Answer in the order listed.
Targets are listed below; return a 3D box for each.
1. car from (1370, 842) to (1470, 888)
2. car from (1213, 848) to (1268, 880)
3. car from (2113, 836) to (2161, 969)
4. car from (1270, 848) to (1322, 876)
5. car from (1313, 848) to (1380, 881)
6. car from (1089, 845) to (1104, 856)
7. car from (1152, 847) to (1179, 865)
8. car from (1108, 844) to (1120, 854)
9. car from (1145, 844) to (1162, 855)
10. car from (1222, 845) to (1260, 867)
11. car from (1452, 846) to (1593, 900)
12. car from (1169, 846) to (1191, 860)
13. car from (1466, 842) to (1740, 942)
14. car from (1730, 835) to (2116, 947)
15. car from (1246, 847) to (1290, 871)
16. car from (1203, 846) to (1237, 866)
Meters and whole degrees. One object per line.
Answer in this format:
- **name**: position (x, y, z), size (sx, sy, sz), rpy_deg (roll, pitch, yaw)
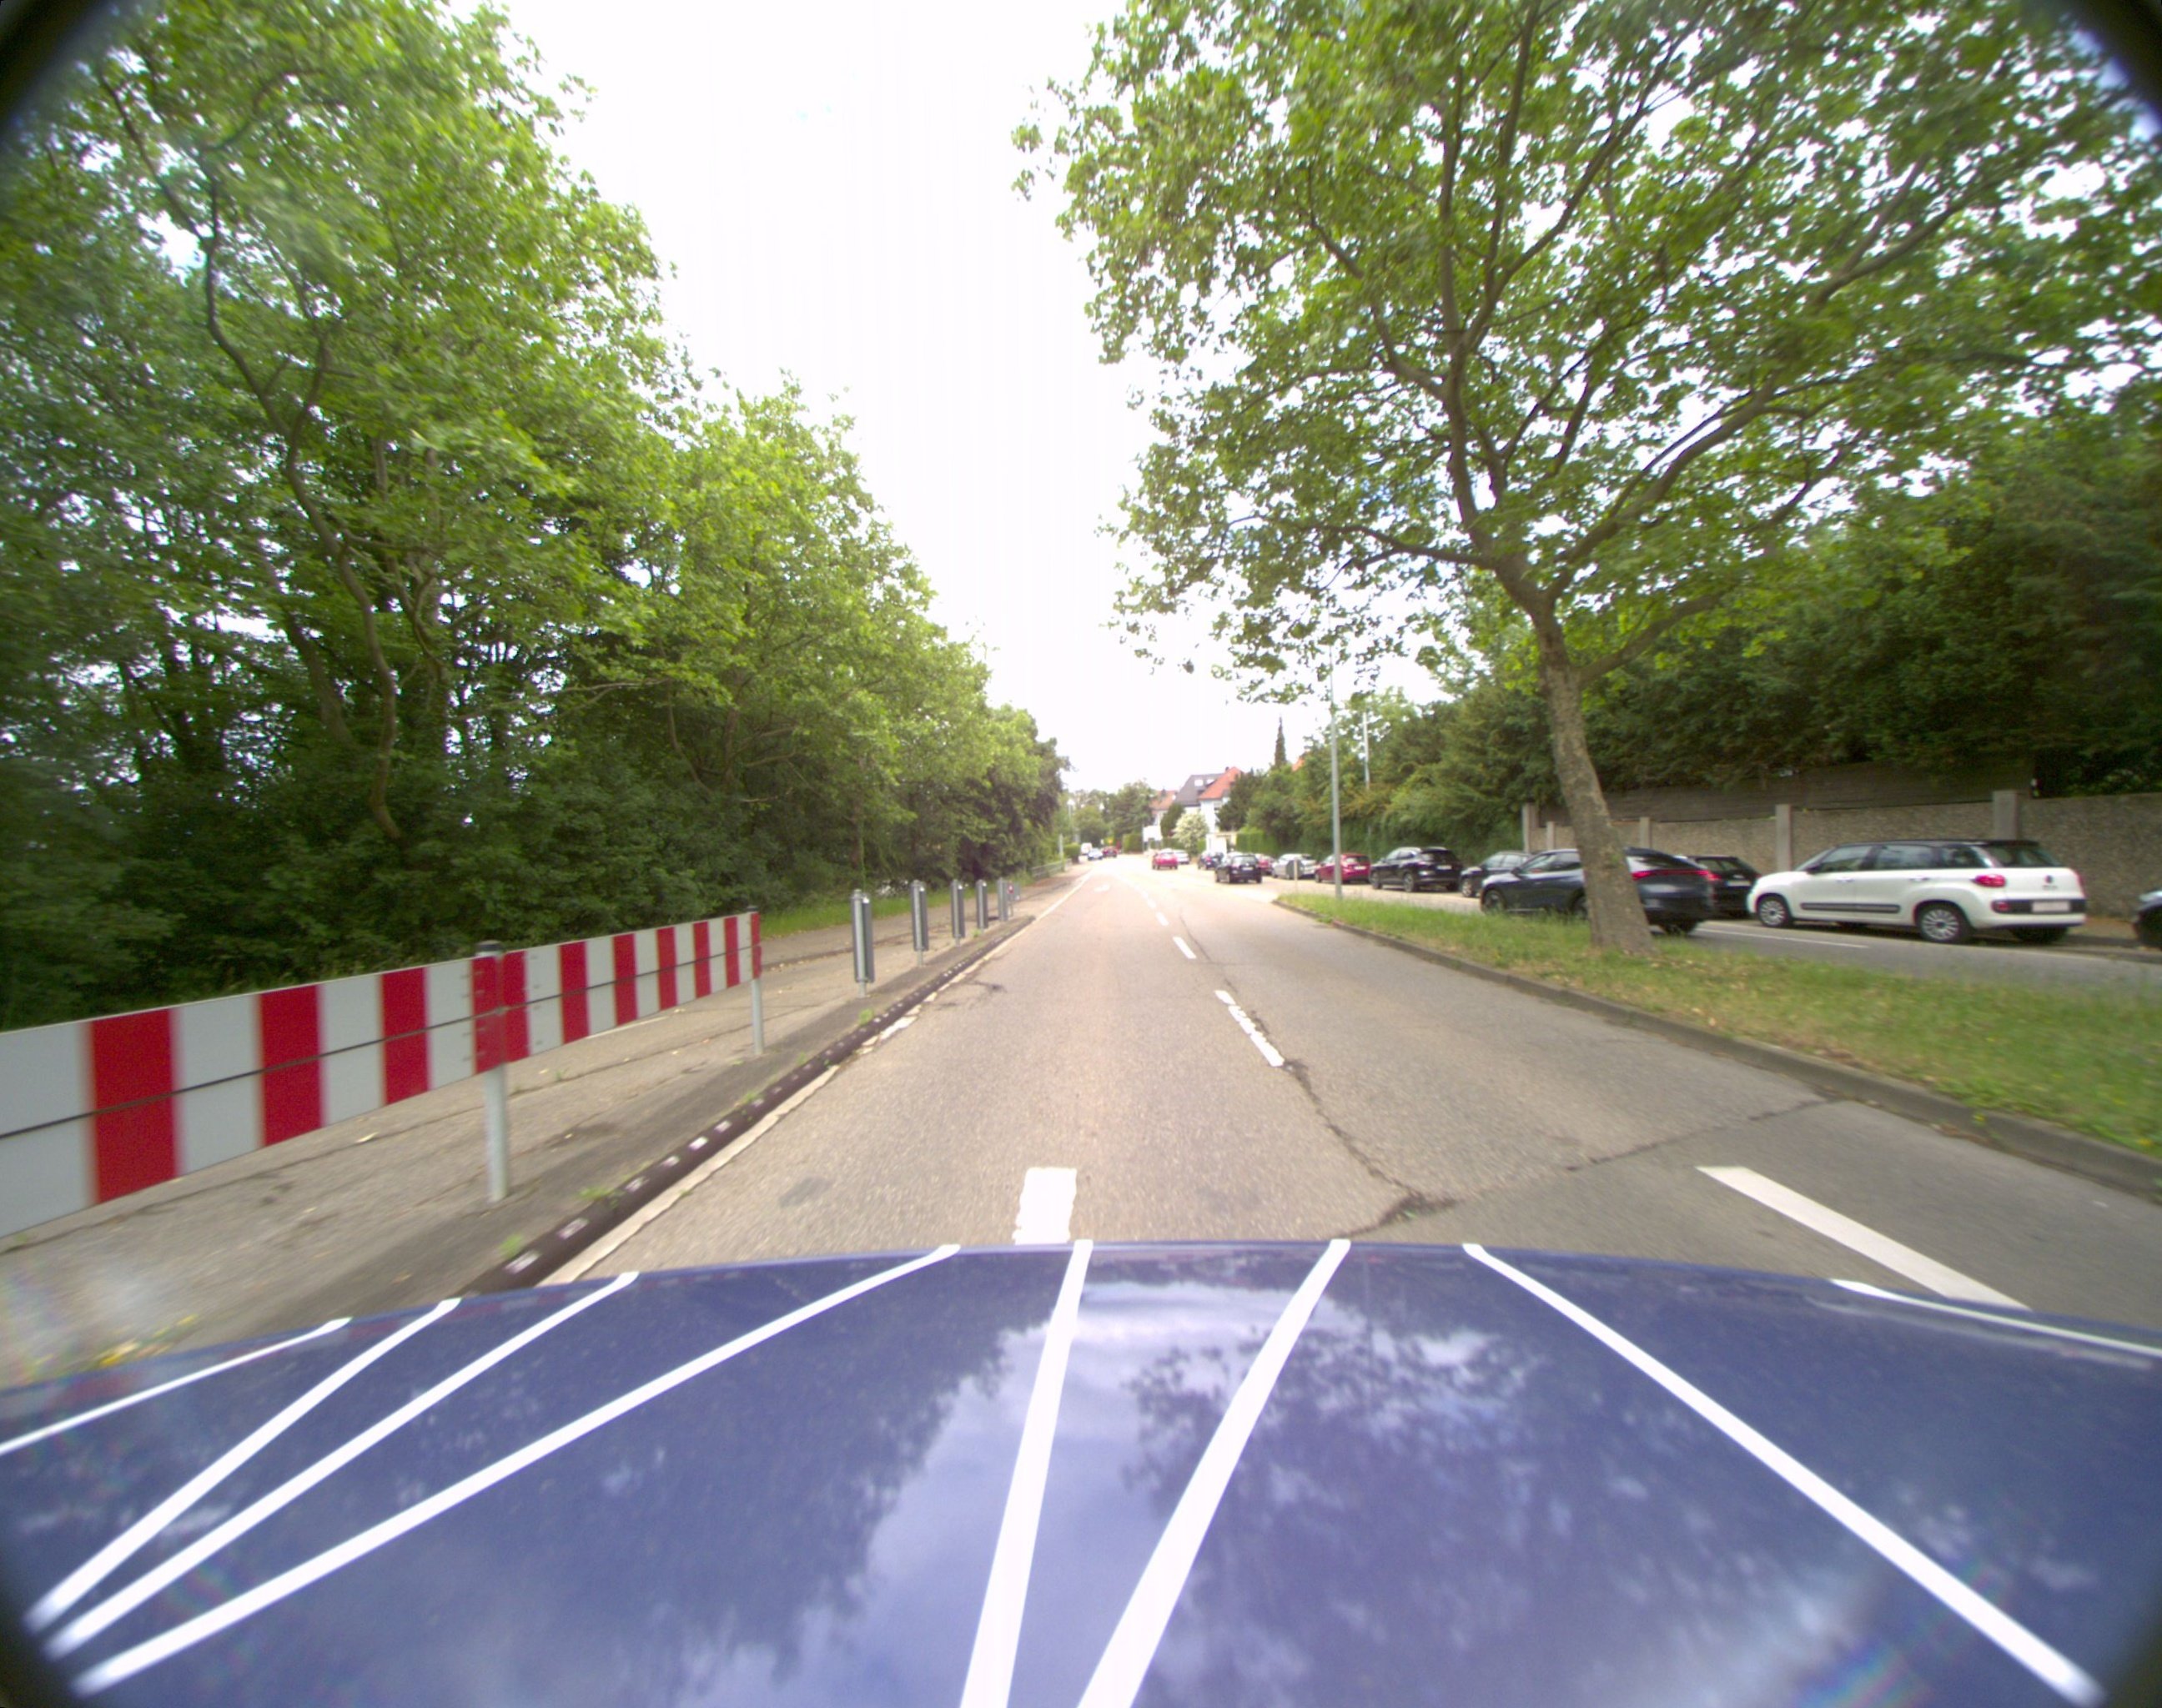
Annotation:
- **car**: position (12.814, 0.385, 28.991), size (1.796, 1.594, 4.037), rpy_deg (-2, 0, -3)
- **car**: position (8.304, 0.481, 39.855), size (1.844, 1.606, 3.912), rpy_deg (0, 0, -3)
- **car**: position (14.207, 0.588, 7.499), size (1.797, 1.606, 4.459), rpy_deg (0, 0, -6)
- **car**: position (12.128, 0.425, 43.060), size (1.686, 1.496, 3.830), rpy_deg (0, 0, -4)
- **car**: position (12.562, 0.471, 36.212), size (1.686, 1.496, 3.830), rpy_deg (0, 0, -4)
- **car**: position (2.092, -0.490, 105.348), size (1.796, 1.420, 4.146), rpy_deg (0, 0, -3)
- **car**: position (7.234, 0.131, 65.666), size (1.686, 1.496, 3.830), rpy_deg (0, 0, -4)
- **car**: position (5.005, -0.758, 113.986), size (1.671, 1.536, 4.000), rpy_deg (-2, 1, 3)
- **car**: position (8.960, -0.571, 93.835), size (1.686, 1.321, 3.831), rpy_deg (-3, 0, 1)
- **car**: position (11.494, 0.125, 54.776), size (1.686, 1.496, 3.830), rpy_deg (0, 0, -4)
- **car**: position (13.382, 0.526, 23.342), size (1.796, 1.496, 4.037), rpy_deg (0, 0, -4)
- **car**: position (9.999, -0.132, 77.041), size (1.686, 1.321, 3.831), rpy_deg (-3, 0, 1)
- **car**: position (9.668, 0.603, 14.654), size (1.797, 1.606, 4.584), rpy_deg (0, 0, -6)
- **car**: position (13.973, 0.525, 13.070), size (1.797, 1.606, 4.215), rpy_deg (0, 0, -5)
- **car**: position (11.923, 0.295, 48.617), size (1.686, 1.496, 3.830), rpy_deg (0, 0, -4)
- **car**: position (10.921, 0.156, 59.915), size (1.686, 1.496, 3.830), rpy_deg (0, 0, -4)
